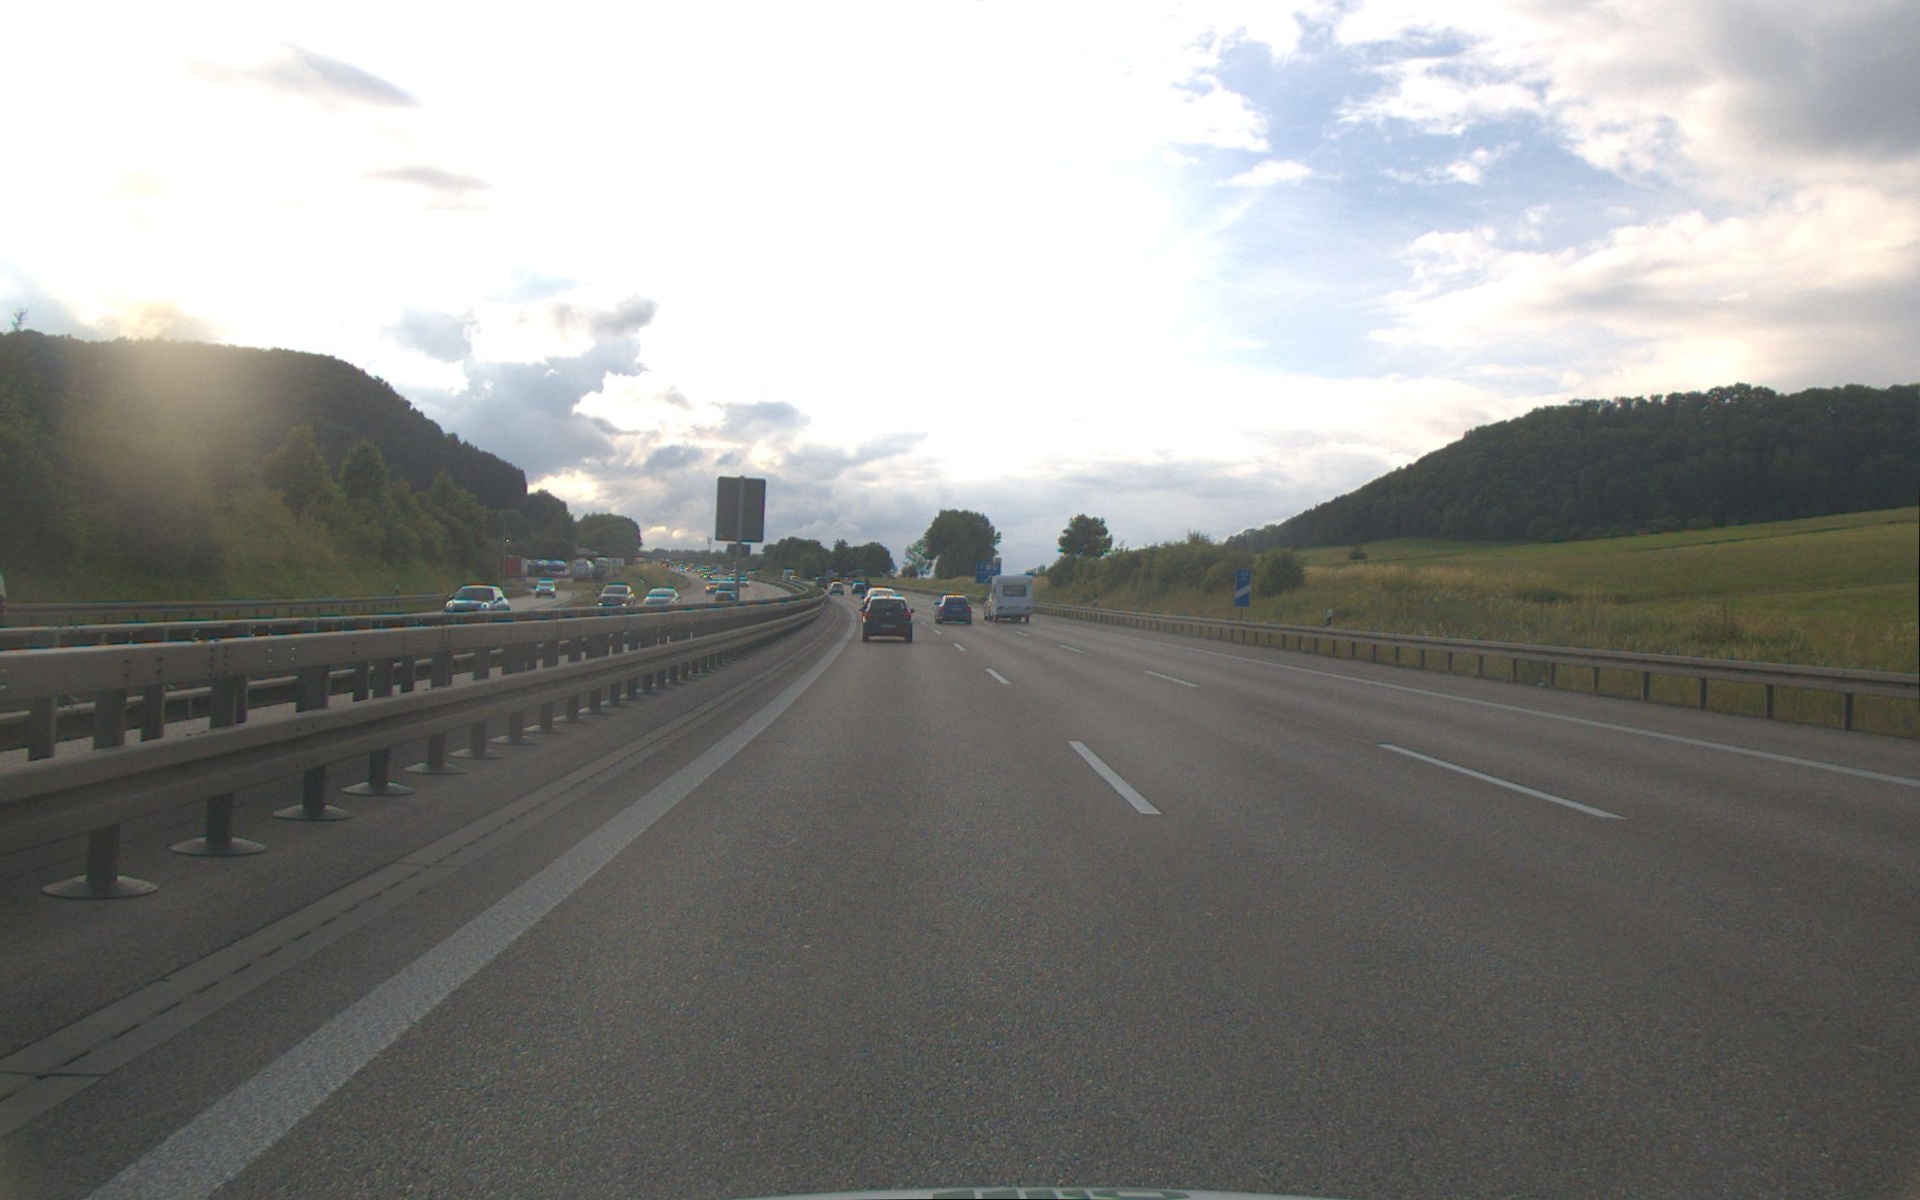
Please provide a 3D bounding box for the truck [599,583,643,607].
[{"bbox_3d":[-19.608,-0.307,95.780,1.954,1.377,3.944,0,0,-3],"label":"truck"}]

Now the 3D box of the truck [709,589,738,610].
[{"bbox_3d":[-19.121,-0.043,133.595,1.959,1.622,4.830,-1,0,-13],"label":"truck"}]

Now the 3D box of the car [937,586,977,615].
[{"bbox_3d":[-0.190,0.004,84.615,1.732,1.458,3.996,0,0,-5],"label":"car"}]

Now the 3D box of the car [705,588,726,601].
[{"bbox_3d":[-29.028,-0.679,196.486,1.953,1.512,3.999,0,0,-1],"label":"car"}]

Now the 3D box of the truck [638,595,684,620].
[{"bbox_3d":[-15.370,0.383,85.102,1.955,1.243,3.996,-1,0,-5],"label":"truck"}]

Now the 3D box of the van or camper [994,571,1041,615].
[{"bbox_3d":[3.145,-0.366,91.333,2.495,2.278,5.329,1,0,1],"label":"van or camper"}]

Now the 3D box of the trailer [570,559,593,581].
[{"bbox_3d":[-57.228,-4.491,250.302,2.532,2.903,12.235,1,-1,-10],"label":"trailer"}]

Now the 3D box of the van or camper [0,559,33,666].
[{"bbox_3d":[-15.973,0.210,24.243,1.954,1.689,5.450,0,0,-3],"label":"van or camper"}]

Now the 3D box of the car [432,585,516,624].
[{"bbox_3d":[-17.562,0.141,59.952,1.954,1.377,4.353,0,0,-3],"label":"car"}]

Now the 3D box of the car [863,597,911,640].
[{"bbox_3d":[-2.436,0.597,54.692,1.507,1.371,3.674,1,0,-4],"label":"car"}]

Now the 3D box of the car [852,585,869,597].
[{"bbox_3d":[-13.517,-1.237,223.900,1.917,1.601,4.001,1,-1,2],"label":"car"}]

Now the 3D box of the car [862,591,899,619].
[{"bbox_3d":[-4.062,0.244,83.903,1.536,1.404,3.993,0,0,-8],"label":"car"}]
